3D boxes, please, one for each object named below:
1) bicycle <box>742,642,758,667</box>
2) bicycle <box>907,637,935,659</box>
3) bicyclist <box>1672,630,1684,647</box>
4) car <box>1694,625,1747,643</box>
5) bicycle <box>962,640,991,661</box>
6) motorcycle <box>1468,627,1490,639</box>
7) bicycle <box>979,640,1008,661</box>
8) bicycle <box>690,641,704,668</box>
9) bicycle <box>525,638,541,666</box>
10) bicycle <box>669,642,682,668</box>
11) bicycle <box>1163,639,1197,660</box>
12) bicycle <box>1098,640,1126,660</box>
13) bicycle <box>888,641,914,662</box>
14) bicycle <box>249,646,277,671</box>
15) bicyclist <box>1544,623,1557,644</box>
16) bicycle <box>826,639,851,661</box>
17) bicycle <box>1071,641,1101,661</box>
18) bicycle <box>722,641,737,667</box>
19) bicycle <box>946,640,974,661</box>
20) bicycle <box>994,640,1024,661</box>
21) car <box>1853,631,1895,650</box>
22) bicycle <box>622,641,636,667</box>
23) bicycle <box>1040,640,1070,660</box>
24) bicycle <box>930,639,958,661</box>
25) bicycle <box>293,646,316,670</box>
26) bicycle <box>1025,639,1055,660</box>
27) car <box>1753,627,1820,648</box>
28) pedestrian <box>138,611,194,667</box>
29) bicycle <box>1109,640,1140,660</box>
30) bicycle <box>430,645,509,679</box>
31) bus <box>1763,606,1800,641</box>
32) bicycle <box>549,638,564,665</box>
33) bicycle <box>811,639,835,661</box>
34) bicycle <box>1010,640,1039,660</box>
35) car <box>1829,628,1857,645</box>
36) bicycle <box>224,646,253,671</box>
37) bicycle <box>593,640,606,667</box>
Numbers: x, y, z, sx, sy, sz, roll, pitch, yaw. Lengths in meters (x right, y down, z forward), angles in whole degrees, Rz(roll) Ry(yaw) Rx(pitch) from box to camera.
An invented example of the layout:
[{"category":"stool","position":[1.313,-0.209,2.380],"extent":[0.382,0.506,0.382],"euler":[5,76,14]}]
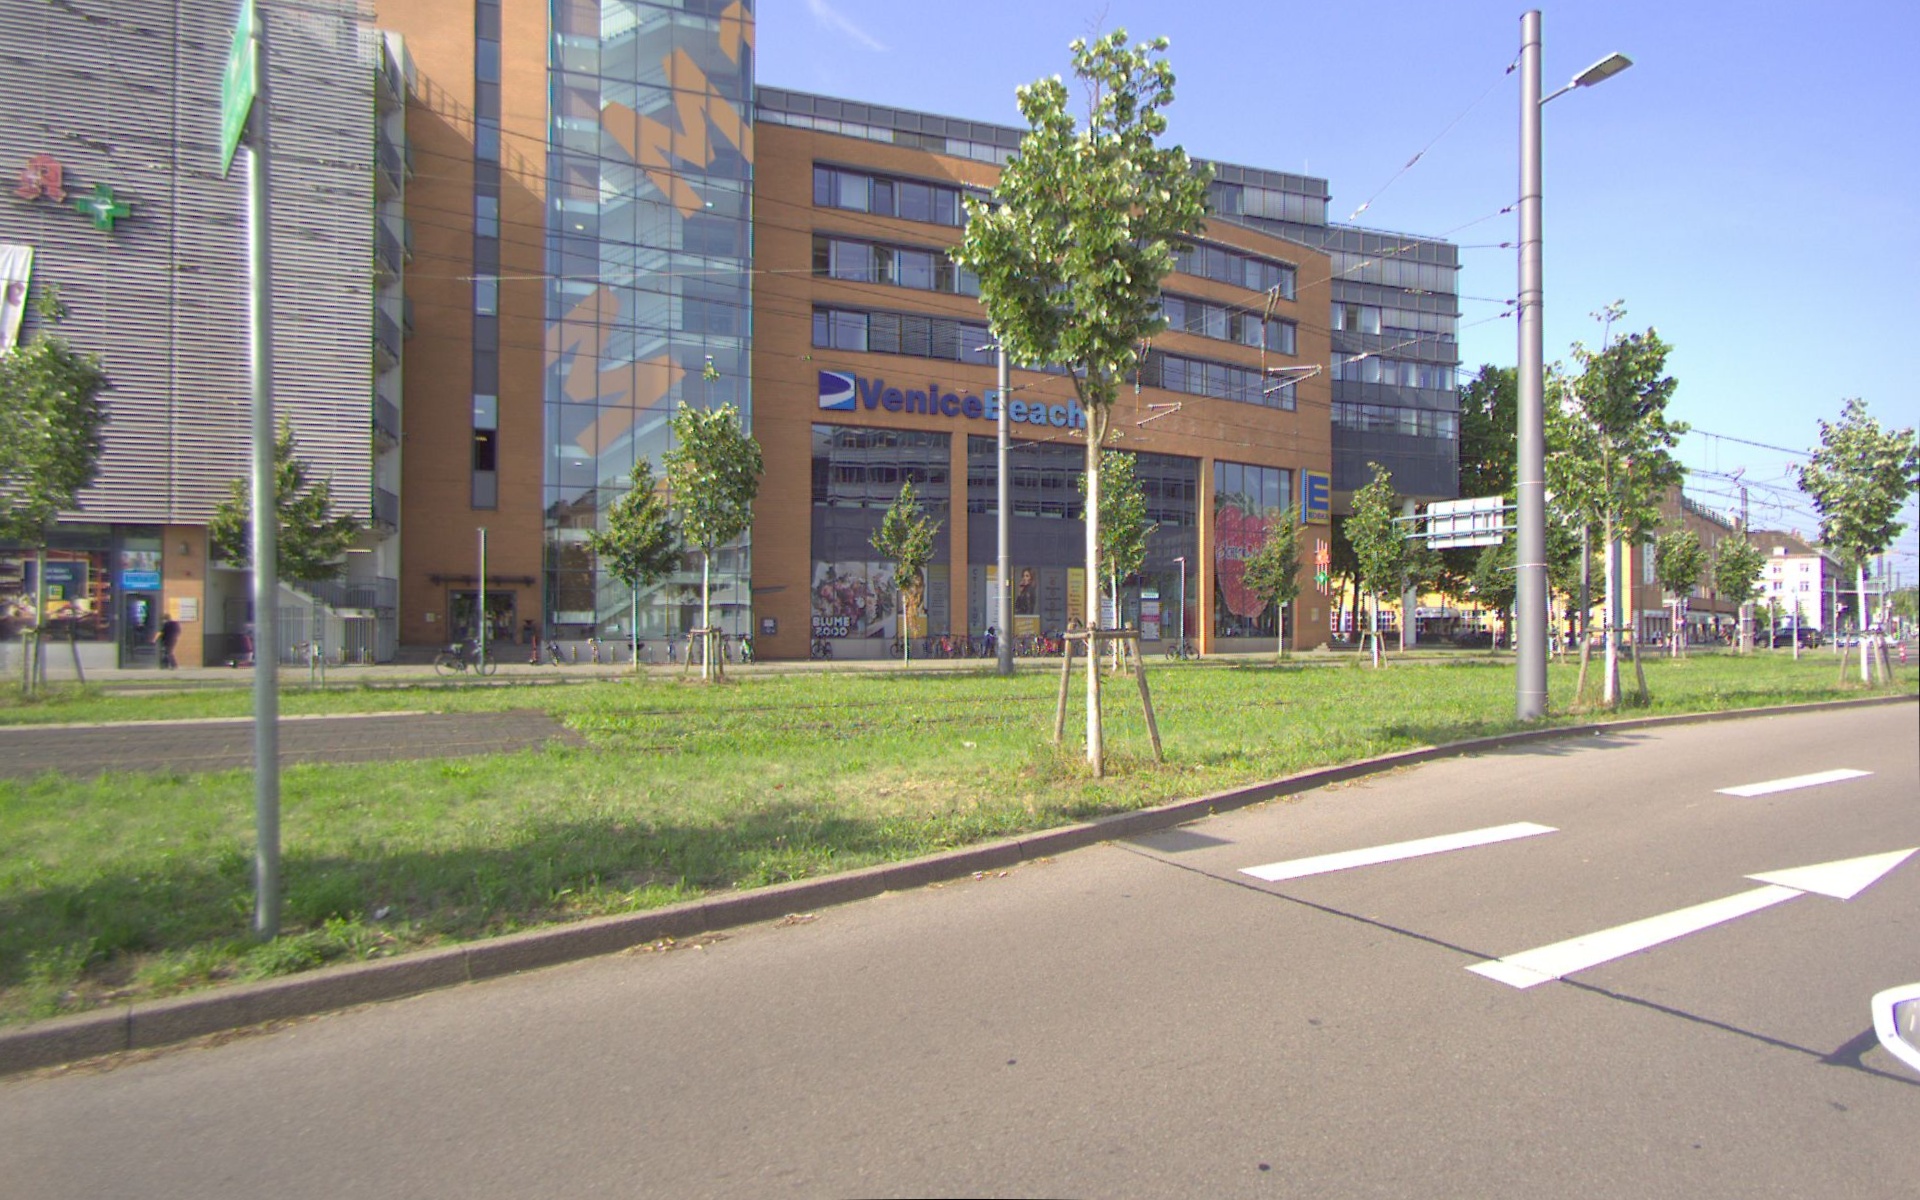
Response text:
[{"category":"bicycle","position":[-8.186,2.120,39.148],"extent":[0.405,0.952,1.578],"euler":[1,-1,-18]},{"category":"bicycle","position":[-1.794,2.187,45.960],"extent":[0.565,0.934,2.044],"euler":[1,-2,-23]},{"category":"bicyclist","position":[77.460,4.141,108.341],"extent":[0.975,1.717,0.667],"euler":[0,-3,41]},{"category":"car","position":[72.102,3.197,95.227],"extent":[1.844,1.645,3.598],"euler":[1,-2,-27]},{"category":"bicycle","position":[0.756,2.360,47.117],"extent":[0.565,0.934,2.044],"euler":[1,-2,-23]},{"category":"motorcycle","position":[44.800,2.823,86.714],"extent":[0.282,1.008,1.675],"euler":[-2,0,-41]},{"category":"bicycle","position":[1.581,2.374,47.489],"extent":[0.565,0.934,2.044],"euler":[1,-2,-23]},{"category":"bicycle","position":[-10.093,2.082,38.561],"extent":[0.405,0.952,1.578],"euler":[1,-1,-18]},{"category":"bicycle","position":[-15.609,1.893,36.702],"extent":[0.405,0.952,1.578],"euler":[1,-1,-18]},{"category":"bicycle","position":[-10.861,2.071,38.272],"extent":[0.405,0.952,1.578],"euler":[1,-1,-18]},{"category":"bicycle","position":[10.049,2.265,45.912],"extent":[0.699,0.919,1.672],"euler":[2,-2,-22]},{"category":"bicycle","position":[7.637,2.486,50.429],"extent":[0.375,0.934,2.044],"euler":[1,-2,-23]},{"category":"bicycle","position":[-2.682,2.318,45.439],"extent":[0.565,0.934,2.044],"euler":[1,-2,-23]},{"category":"bicycle","position":[-22.777,1.907,32.830],"extent":[0.445,0.762,1.003],"euler":[0,-1,-16]},{"category":"bicyclist","position":[50.589,2.839,86.014],"extent":[0.653,1.769,0.968],"euler":[1,-2,7]},{"category":"bicycle","position":[-5.365,2.201,44.351],"extent":[0.565,0.934,2.044],"euler":[1,-2,-23]},{"category":"bicycle","position":[6.219,2.489,49.633],"extent":[0.565,0.934,2.044],"euler":[1,-2,-23]},{"category":"bicycle","position":[-8.978,2.103,39.062],"extent":[0.405,0.952,1.578],"euler":[1,-1,-18]},{"category":"bicycle","position":[0.001,2.332,46.774],"extent":[0.565,0.934,2.044],"euler":[1,-2,-23]},{"category":"bicycle","position":[2.325,2.384,47.908],"extent":[0.565,0.934,2.044],"euler":[1,-2,-23]},{"category":"car","position":[81.466,3.604,89.589],"extent":[1.702,1.562,3.447],"euler":[0,-3,23]},{"category":"bicycle","position":[-12.450,2.012,37.761],"extent":[0.465,0.952,1.578],"euler":[1,-1,-18]},{"category":"bicycle","position":[4.654,2.423,49.105],"extent":[0.565,0.934,2.044],"euler":[1,-2,-23]},{"category":"bicycle","position":[-0.759,2.295,46.368],"extent":[0.565,0.934,2.044],"euler":[1,-2,-23]},{"category":"bicycle","position":[-21.658,1.919,33.181],"extent":[0.355,0.762,1.021],"euler":[0,-1,-16]},{"category":"bicycle","position":[3.864,2.390,48.694],"extent":[0.565,0.934,2.044],"euler":[1,-2,-23]},{"category":"car","position":[70.798,3.176,86.083],"extent":[1.974,1.700,3.973],"euler":[3,-3,-27]},{"category":"pedestrian","position":[-25.298,1.226,32.007],"extent":[1.158,1.742,0.817],"euler":[1,-1,-18]},{"category":"bicycle","position":[8.284,2.518,50.762],"extent":[0.565,0.934,2.044],"euler":[1,-2,-23]},{"category":"bicycle","position":[-15.263,1.917,31.303],"extent":[2.124,1.001,0.445],"euler":[2,-2,-9]},{"category":"bus","position":[97.874,2.842,119.634],"extent":[2.716,3.973,12.149],"euler":[-1,-2,42]},{"category":"bicycle","position":[-14.874,1.890,37.020],"extent":[0.405,0.952,1.578],"euler":[1,-1,-18]},{"category":"bicycle","position":[-6.018,2.170,44.031],"extent":[0.565,0.934,2.044],"euler":[1,-2,-23]},{"category":"bicycle","position":[3.092,2.381,48.270],"extent":[0.565,0.934,2.044],"euler":[1,-2,-23]},{"category":"car","position":[88.411,3.639,100.538],"extent":[4.361,1.656,1.669],"euler":[0,-1,-43]},{"category":"bicycle","position":[-23.438,1.901,32.634],"extent":[0.445,0.762,1.003],"euler":[0,-1,-16]},{"category":"bicycle","position":[-13.384,1.968,37.345],"extent":[0.405,0.952,1.578],"euler":[1,-1,-18]}]
